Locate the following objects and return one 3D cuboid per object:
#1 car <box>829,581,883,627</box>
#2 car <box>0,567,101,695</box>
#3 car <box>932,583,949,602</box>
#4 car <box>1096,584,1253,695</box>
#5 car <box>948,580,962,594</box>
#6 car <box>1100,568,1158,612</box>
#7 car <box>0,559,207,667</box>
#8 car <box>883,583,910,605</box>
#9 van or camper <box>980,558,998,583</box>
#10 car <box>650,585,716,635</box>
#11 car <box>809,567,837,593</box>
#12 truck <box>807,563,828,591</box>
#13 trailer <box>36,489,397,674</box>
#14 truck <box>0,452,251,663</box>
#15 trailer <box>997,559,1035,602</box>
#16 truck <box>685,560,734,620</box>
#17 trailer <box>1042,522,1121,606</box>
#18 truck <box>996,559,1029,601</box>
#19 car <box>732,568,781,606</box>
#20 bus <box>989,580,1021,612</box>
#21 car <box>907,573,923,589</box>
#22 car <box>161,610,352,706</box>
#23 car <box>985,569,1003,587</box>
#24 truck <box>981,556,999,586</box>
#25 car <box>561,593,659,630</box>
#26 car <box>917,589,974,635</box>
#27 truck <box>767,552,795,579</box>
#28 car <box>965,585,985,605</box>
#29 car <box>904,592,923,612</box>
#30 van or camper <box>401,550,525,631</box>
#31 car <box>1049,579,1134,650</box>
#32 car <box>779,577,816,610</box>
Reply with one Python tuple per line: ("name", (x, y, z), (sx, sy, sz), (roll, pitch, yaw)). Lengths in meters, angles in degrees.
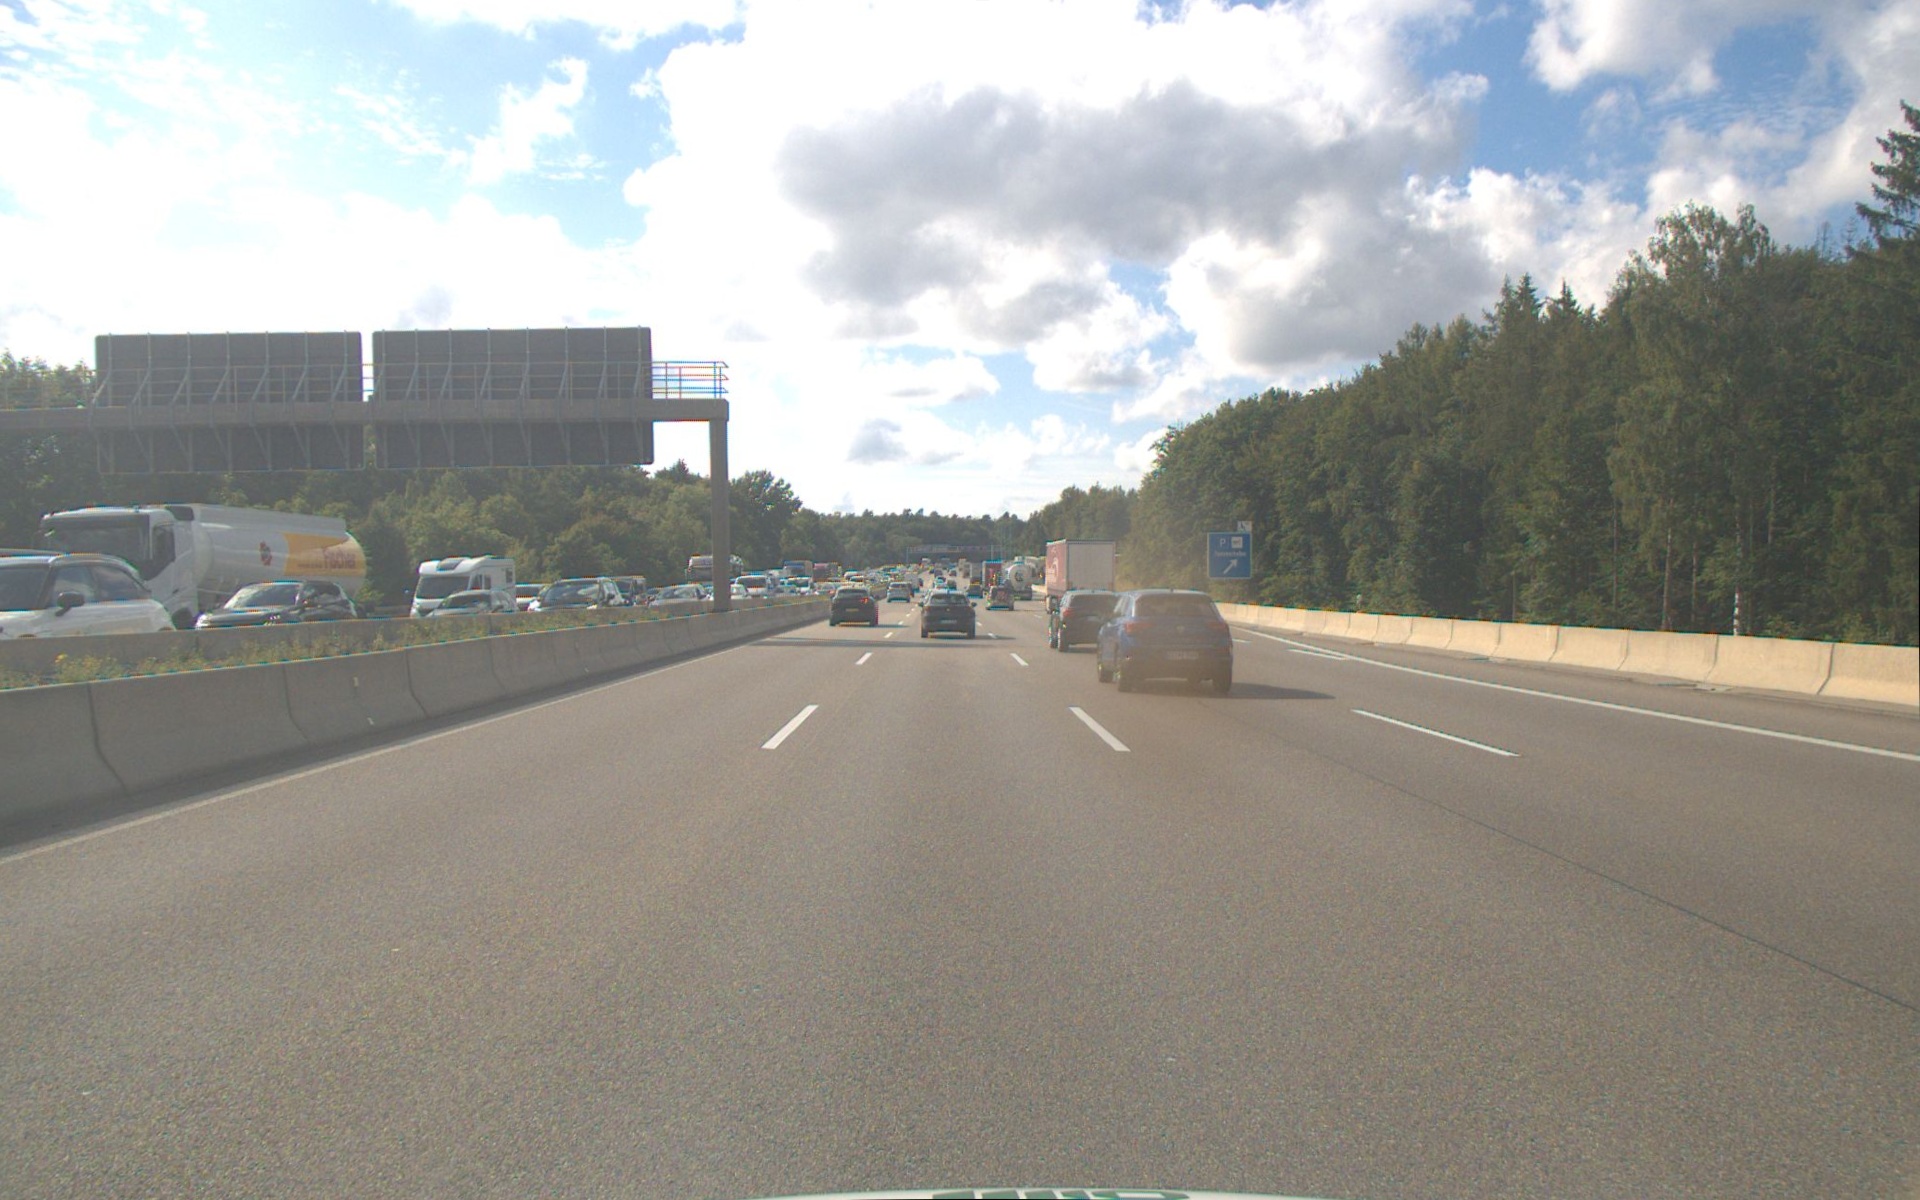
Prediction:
("car", (-4.198, 0.138, 67.134), (1.953, 1.807, 4.000), (1, 0, -1))
("car", (-13.556, 0.385, 21.860), (1.967, 1.684, 4.781), (1, 0, -1))
("car", (-2.226, -0.831, 188.843), (1.953, 2.049, 3.999), (-1, 0, -1))
("car", (3.354, 0.562, 26.749), (1.885, 1.568, 4.645), (2, 1, 0))
("car", (-0.760, -1.925, 245.146), (1.953, 2.049, 3.999), (1, 1, -1))
("car", (6.228, -0.365, 61.160), (1.680, 1.537, 4.302), (-1, 0, 0))
("car", (-9.376, 0.093, 16.656), (1.610, 0.956, 4.487), (1, 0, -1))
("car", (-5.358, -0.524, 139.244), (2.111, 1.807, 4.000), (1, 0, -1))
("van or camper", (4.008, -4.077, 228.390), (2.303, 3.199, 5.710), (1, -1, 0))
("car", (-10.546, 0.353, 63.270), (1.731, 1.830, 4.937), (1, 0, -1))
("car", (-11.365, -1.636, 137.245), (1.953, 2.049, 4.409), (0, 0, 0))
("truck", (-21.065, -3.360, 244.342), (2.720, 4.007, 6.851), (1, 1, -2))
("trailer", (-18.068, -0.444, 41.824), (3.342, 3.895, 13.258), (1, 0, -1))
("truck", (-17.930, -0.830, 34.585), (3.347, 3.968, 6.800), (1, 0, -1))
("trailer", (5.446, -1.878, 163.010), (2.974, 4.086, 12.242), (0, 0, -1))
("truck", (-18.693, -0.758, 123.741), (2.795, 4.308, 5.712), (1, 0, -1))
("trailer", (6.438, -1.795, 89.800), (2.976, 4.106, 13.886), (1, 0, -1))
("truck", (5.342, -2.013, 168.695), (2.984, 4.233, 7.125), (0, 0, -1))
("car", (-10.351, -0.646, 84.398), (2.044, 1.833, 4.178), (1, 0, -1))
("bus", (2.942, -0.263, 108.414), (1.953, 2.049, 3.999), (1, -1, -1))
("car", (-5.843, -2.467, 216.086), (1.953, 2.049, 3.999), (1, 1, -1))
("car", (-13.674, 1.072, 32.463), (1.763, 1.660, 4.662), (2, 0, -1))
("car", (4.021, -2.600, 196.298), (1.953, 2.049, 3.999), (1, -1, -1))
("truck", (3.989, -3.869, 222.043), (2.309, 3.635, 11.266), (1, 0, 0))
("car", (-9.622, 0.293, 45.859), (1.633, 0.944, 5.462), (1, 0, -1))
("car", (-0.500, 0.363, 52.911), (1.699, 1.389, 3.999), (1, 0, -2))
("truck", (-19.616, -3.749, 181.773), (2.281, 2.850, 7.947), (2, 1, -1))
("car", (1.593, -0.543, 174.240), (1.953, 2.049, 3.999), (1, 0, -1))
("car", (-4.951, 0.215, 175.786), (1.953, 2.049, 3.999), (1, -1, -1))
("van or camper", (-17.781, -0.290, 59.628), (2.277, 2.689, 7.396), (1, 0, -1))
("car", (3.273, 0.343, 41.705), (1.762, 1.673, 4.000), (1, 0, -1))
("car", (-10.971, -0.416, 111.944), (1.953, 2.137, 5.277), (1, 0, 0))
